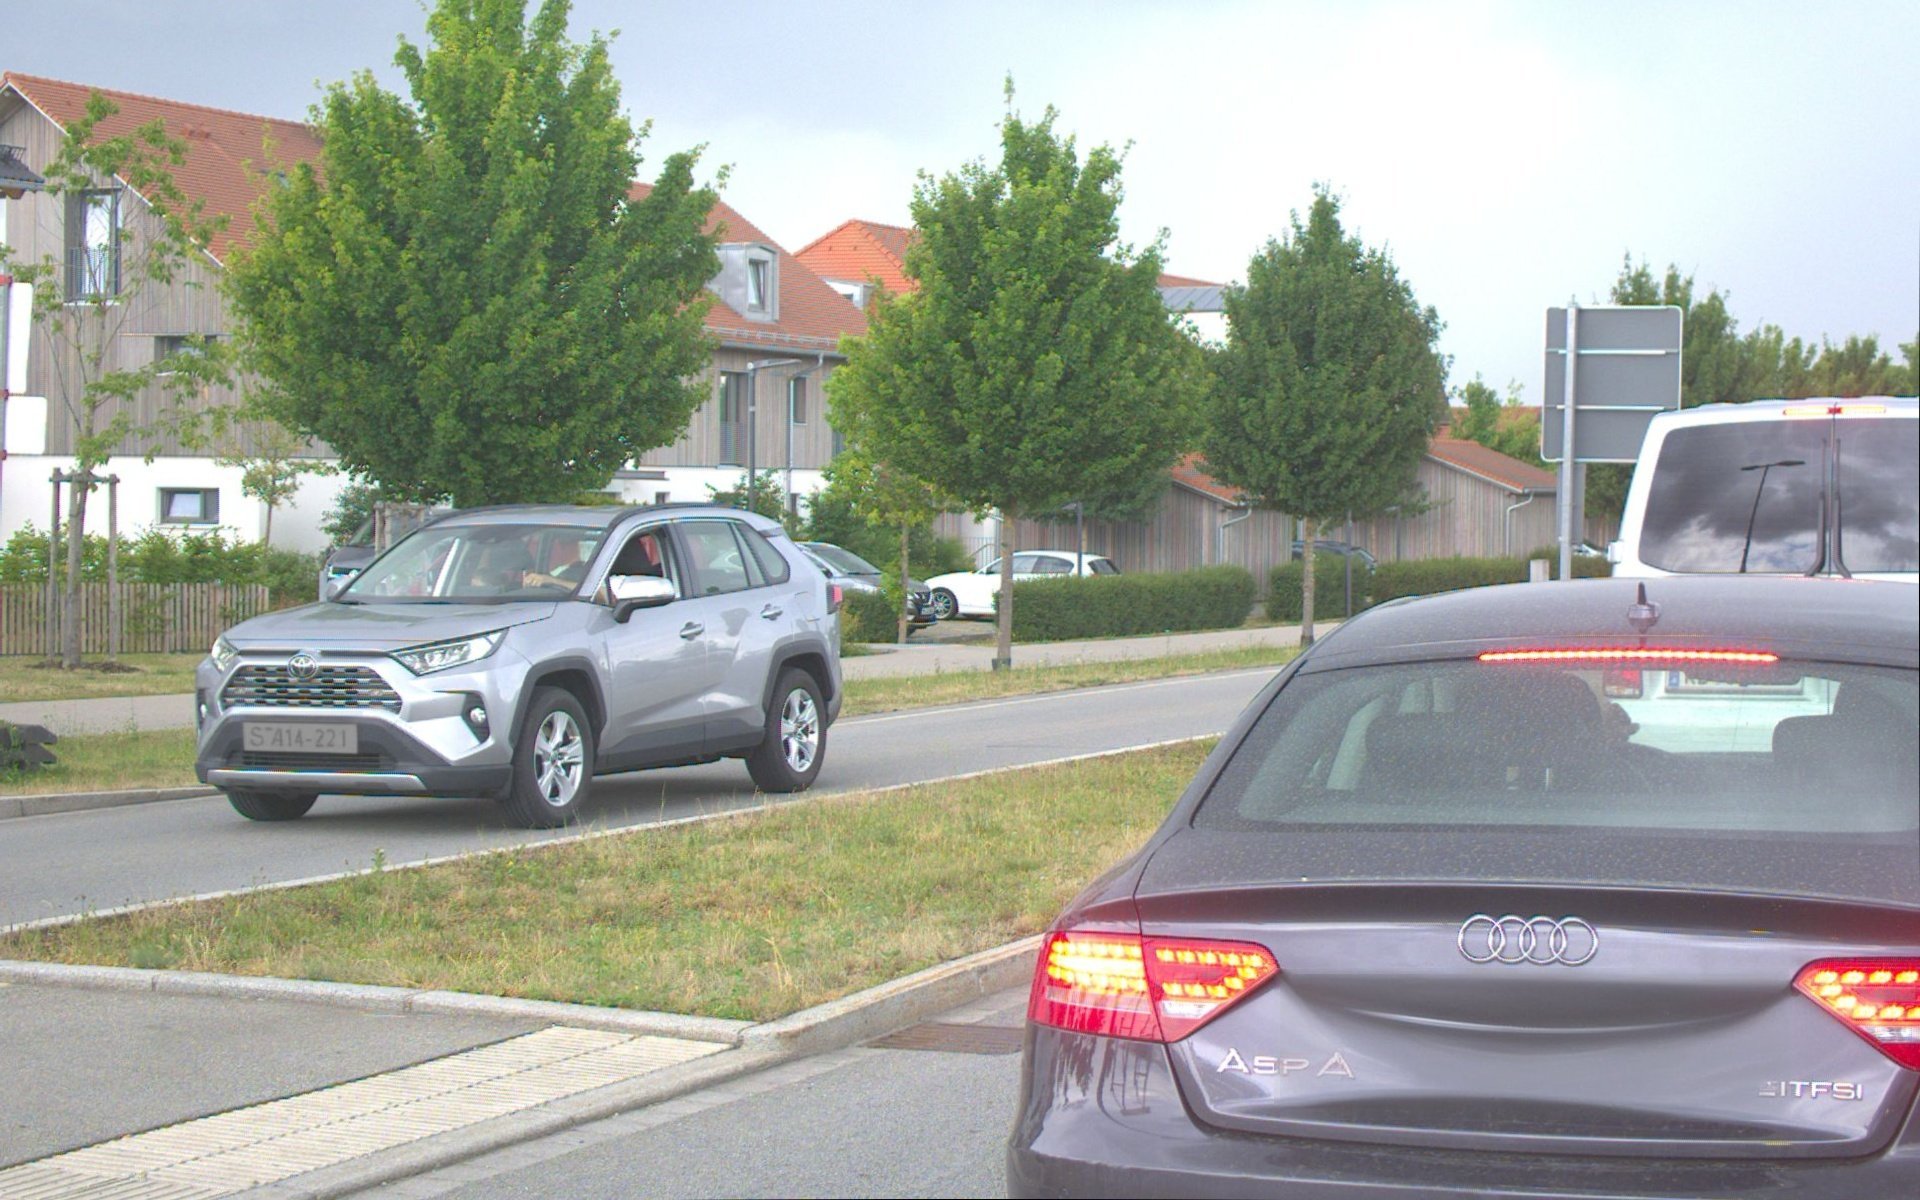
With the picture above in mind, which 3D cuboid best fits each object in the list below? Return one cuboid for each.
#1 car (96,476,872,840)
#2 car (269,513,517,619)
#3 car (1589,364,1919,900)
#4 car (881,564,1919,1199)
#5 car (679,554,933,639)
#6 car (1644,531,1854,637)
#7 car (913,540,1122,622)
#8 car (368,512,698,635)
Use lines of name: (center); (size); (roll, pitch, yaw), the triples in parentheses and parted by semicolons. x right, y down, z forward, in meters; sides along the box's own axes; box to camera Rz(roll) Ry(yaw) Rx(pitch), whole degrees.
car: (-2.379, 0.228, 18.581); (1.996, 1.698, 4.629); (0, 1, 24)
car: (-9.980, -0.614, 60.857); (1.997, 1.766, 4.458); (2, 1, 28)
car: (3.930, 0.072, 14.368); (1.869, 1.927, 3.996); (2, 2, 20)
car: (1.456, 0.646, 6.404); (1.786, 1.387, 4.128); (0, 1, 21)
car: (-2.627, -0.082, 58.802); (3.919, 1.310, 1.841); (2, 2, 21)
car: (11.320, -0.264, 49.136); (1.756, 1.411, 4.449); (2, 2, 29)
car: (1.135, -0.387, 67.686); (3.733, 1.477, 1.685); (2, 2, 21)
car: (-6.382, -0.421, 51.335); (4.537, 1.674, 1.997); (2, 2, 27)
